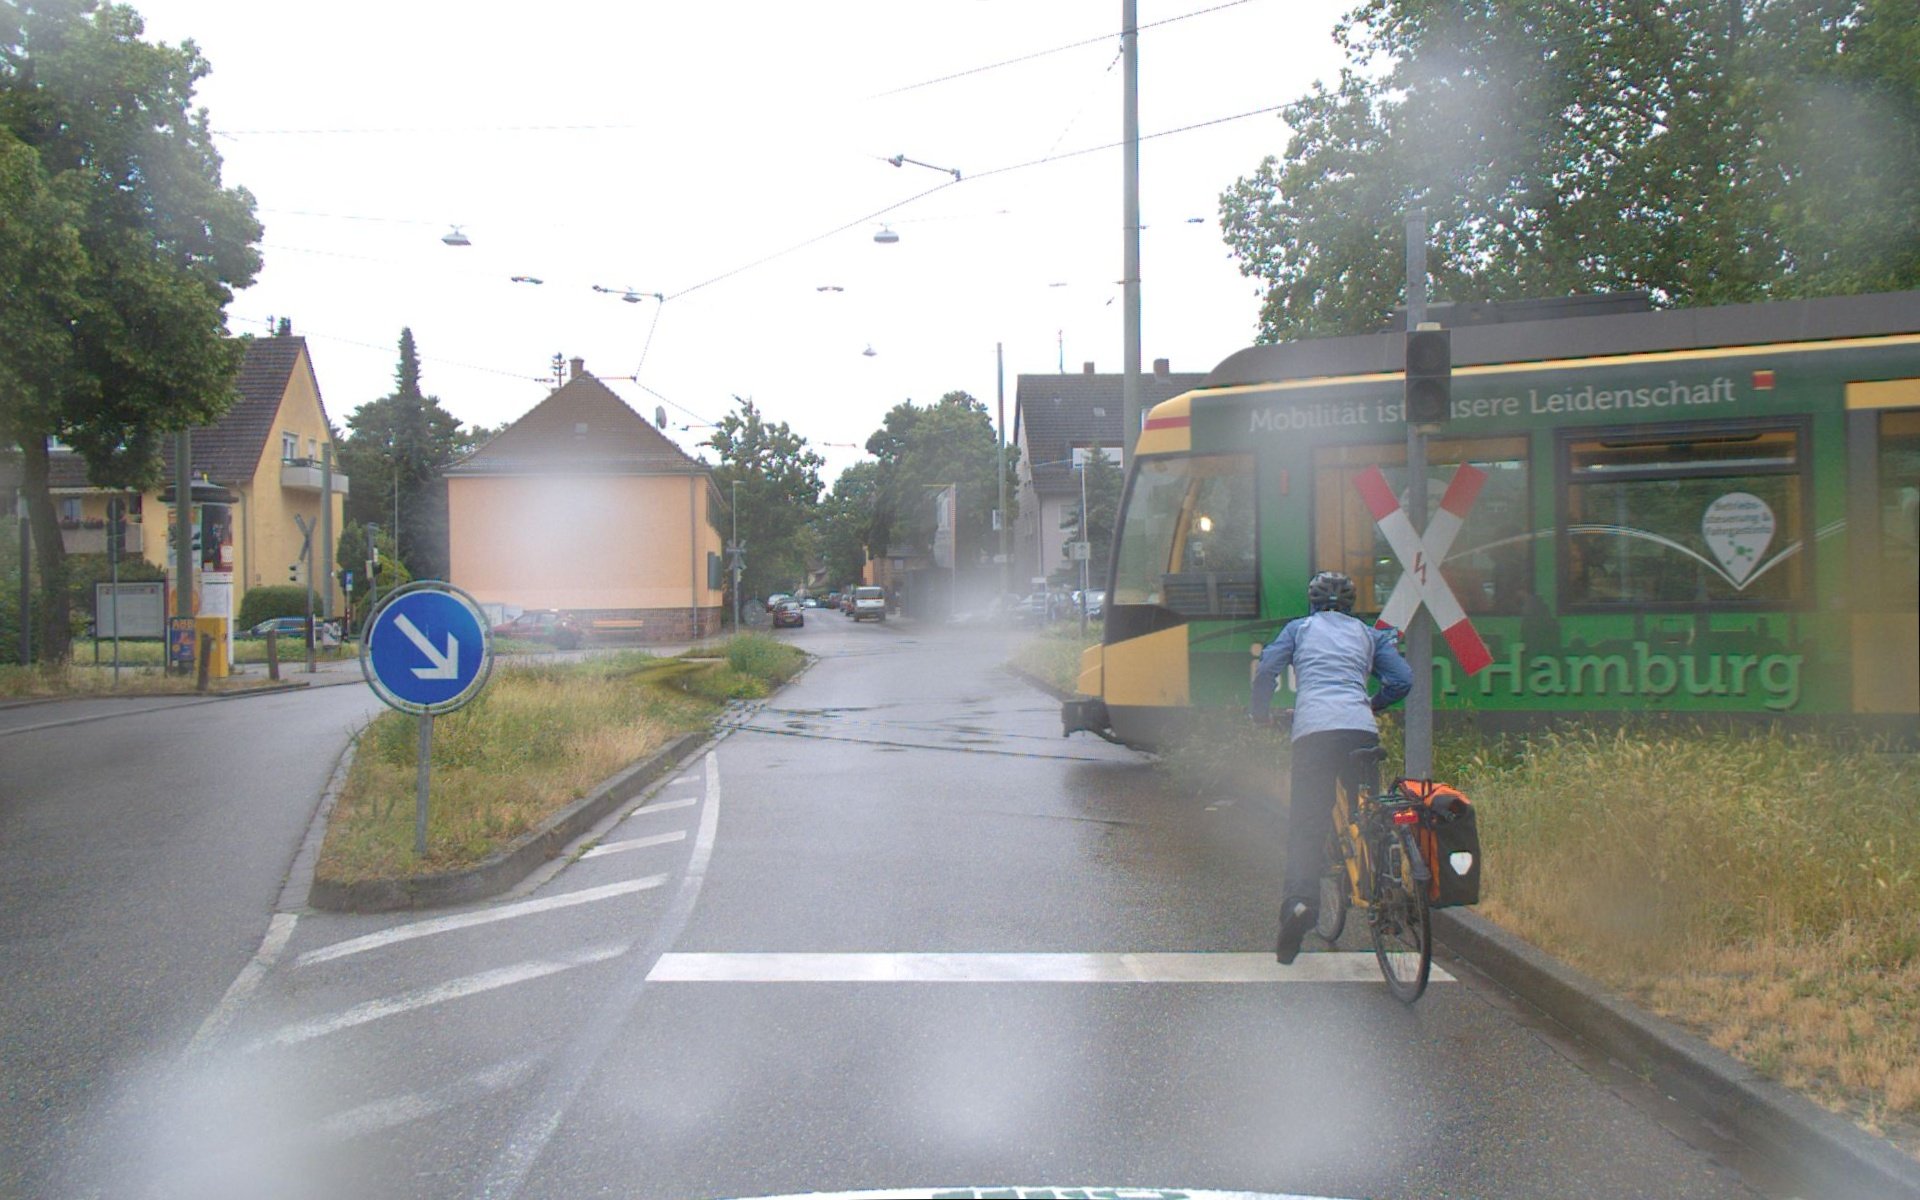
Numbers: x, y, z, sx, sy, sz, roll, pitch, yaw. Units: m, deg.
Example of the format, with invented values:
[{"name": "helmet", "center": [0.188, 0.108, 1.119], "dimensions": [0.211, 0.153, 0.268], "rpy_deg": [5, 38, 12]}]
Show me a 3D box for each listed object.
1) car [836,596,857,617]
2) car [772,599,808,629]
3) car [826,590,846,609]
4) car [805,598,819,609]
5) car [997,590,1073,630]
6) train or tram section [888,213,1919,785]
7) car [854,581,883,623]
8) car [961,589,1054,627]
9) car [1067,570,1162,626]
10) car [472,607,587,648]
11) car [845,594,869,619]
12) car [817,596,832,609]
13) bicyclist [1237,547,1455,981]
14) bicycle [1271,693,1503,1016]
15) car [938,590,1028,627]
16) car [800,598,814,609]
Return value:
[{"name": "car", "center": [-10.080, 0.571, 147.247], "dimensions": [1.768, 1.843, 3.998], "rpy_deg": [1, 0, -3]}, {"name": "car", "center": [-9.797, 0.806, 95.544], "dimensions": [1.768, 1.680, 3.998], "rpy_deg": [1, 0, -3]}, {"name": "car", "center": [-12.325, 0.007, 164.449], "dimensions": [1.768, 1.843, 3.998], "rpy_deg": [1, 0, -3]}, {"name": "car", "center": [-20.441, 0.436, 228.116], "dimensions": [1.768, 1.486, 3.998], "rpy_deg": [1, 0, -3]}, {"name": "car", "center": [3.336, 0.451, 72.812], "dimensions": [1.954, 1.668, 3.997], "rpy_deg": [1, 0, 24]}, {"name": "train or tram section", "center": [5.833, -0.624, 12.115], "dimensions": [12.829, 3.615, 2.768], "rpy_deg": [-2, 0, 25]}, {"name": "car", "center": [-5.954, 0.116, 107.955], "dimensions": [1.768, 2.673, 3.998], "rpy_deg": [1, 0, -3]}, {"name": "car", "center": [2.226, 0.383, 76.887], "dimensions": [3.956, 1.705, 1.974], "rpy_deg": [1, -1, -37]}, {"name": "car", "center": [7.478, -0.108, 79.913], "dimensions": [4.301, 2.610, 2.001], "rpy_deg": [1, -1, 14]}, {"name": "car", "center": [-16.185, 1.029, 62.330], "dimensions": [3.911, 1.482, 1.831], "rpy_deg": [1, 0, -7]}, {"name": "car", "center": [-7.969, 0.488, 127.796], "dimensions": [1.768, 1.843, 3.998], "rpy_deg": [1, 0, -3]}, {"name": "car", "center": [-17.237, 0.334, 210.982], "dimensions": [1.768, 1.591, 3.998], "rpy_deg": [1, 0, -3]}, {"name": "bicyclist", "center": [1.553, 0.633, 6.771], "dimensions": [0.653, 1.654, 0.852], "rpy_deg": [1, -1, -2]}, {"name": "bicycle", "center": [1.674, 0.948, 6.713], "dimensions": [0.437, 1.022, 1.727], "rpy_deg": [-1, 0, -2]}, {"name": "car", "center": [1.128, 0.416, 79.938], "dimensions": [3.956, 1.672, 1.974], "rpy_deg": [1, -1, -37]}, {"name": "car", "center": [-21.544, 0.450, 233.390], "dimensions": [1.768, 1.486, 3.998], "rpy_deg": [1, 0, -3]}]
